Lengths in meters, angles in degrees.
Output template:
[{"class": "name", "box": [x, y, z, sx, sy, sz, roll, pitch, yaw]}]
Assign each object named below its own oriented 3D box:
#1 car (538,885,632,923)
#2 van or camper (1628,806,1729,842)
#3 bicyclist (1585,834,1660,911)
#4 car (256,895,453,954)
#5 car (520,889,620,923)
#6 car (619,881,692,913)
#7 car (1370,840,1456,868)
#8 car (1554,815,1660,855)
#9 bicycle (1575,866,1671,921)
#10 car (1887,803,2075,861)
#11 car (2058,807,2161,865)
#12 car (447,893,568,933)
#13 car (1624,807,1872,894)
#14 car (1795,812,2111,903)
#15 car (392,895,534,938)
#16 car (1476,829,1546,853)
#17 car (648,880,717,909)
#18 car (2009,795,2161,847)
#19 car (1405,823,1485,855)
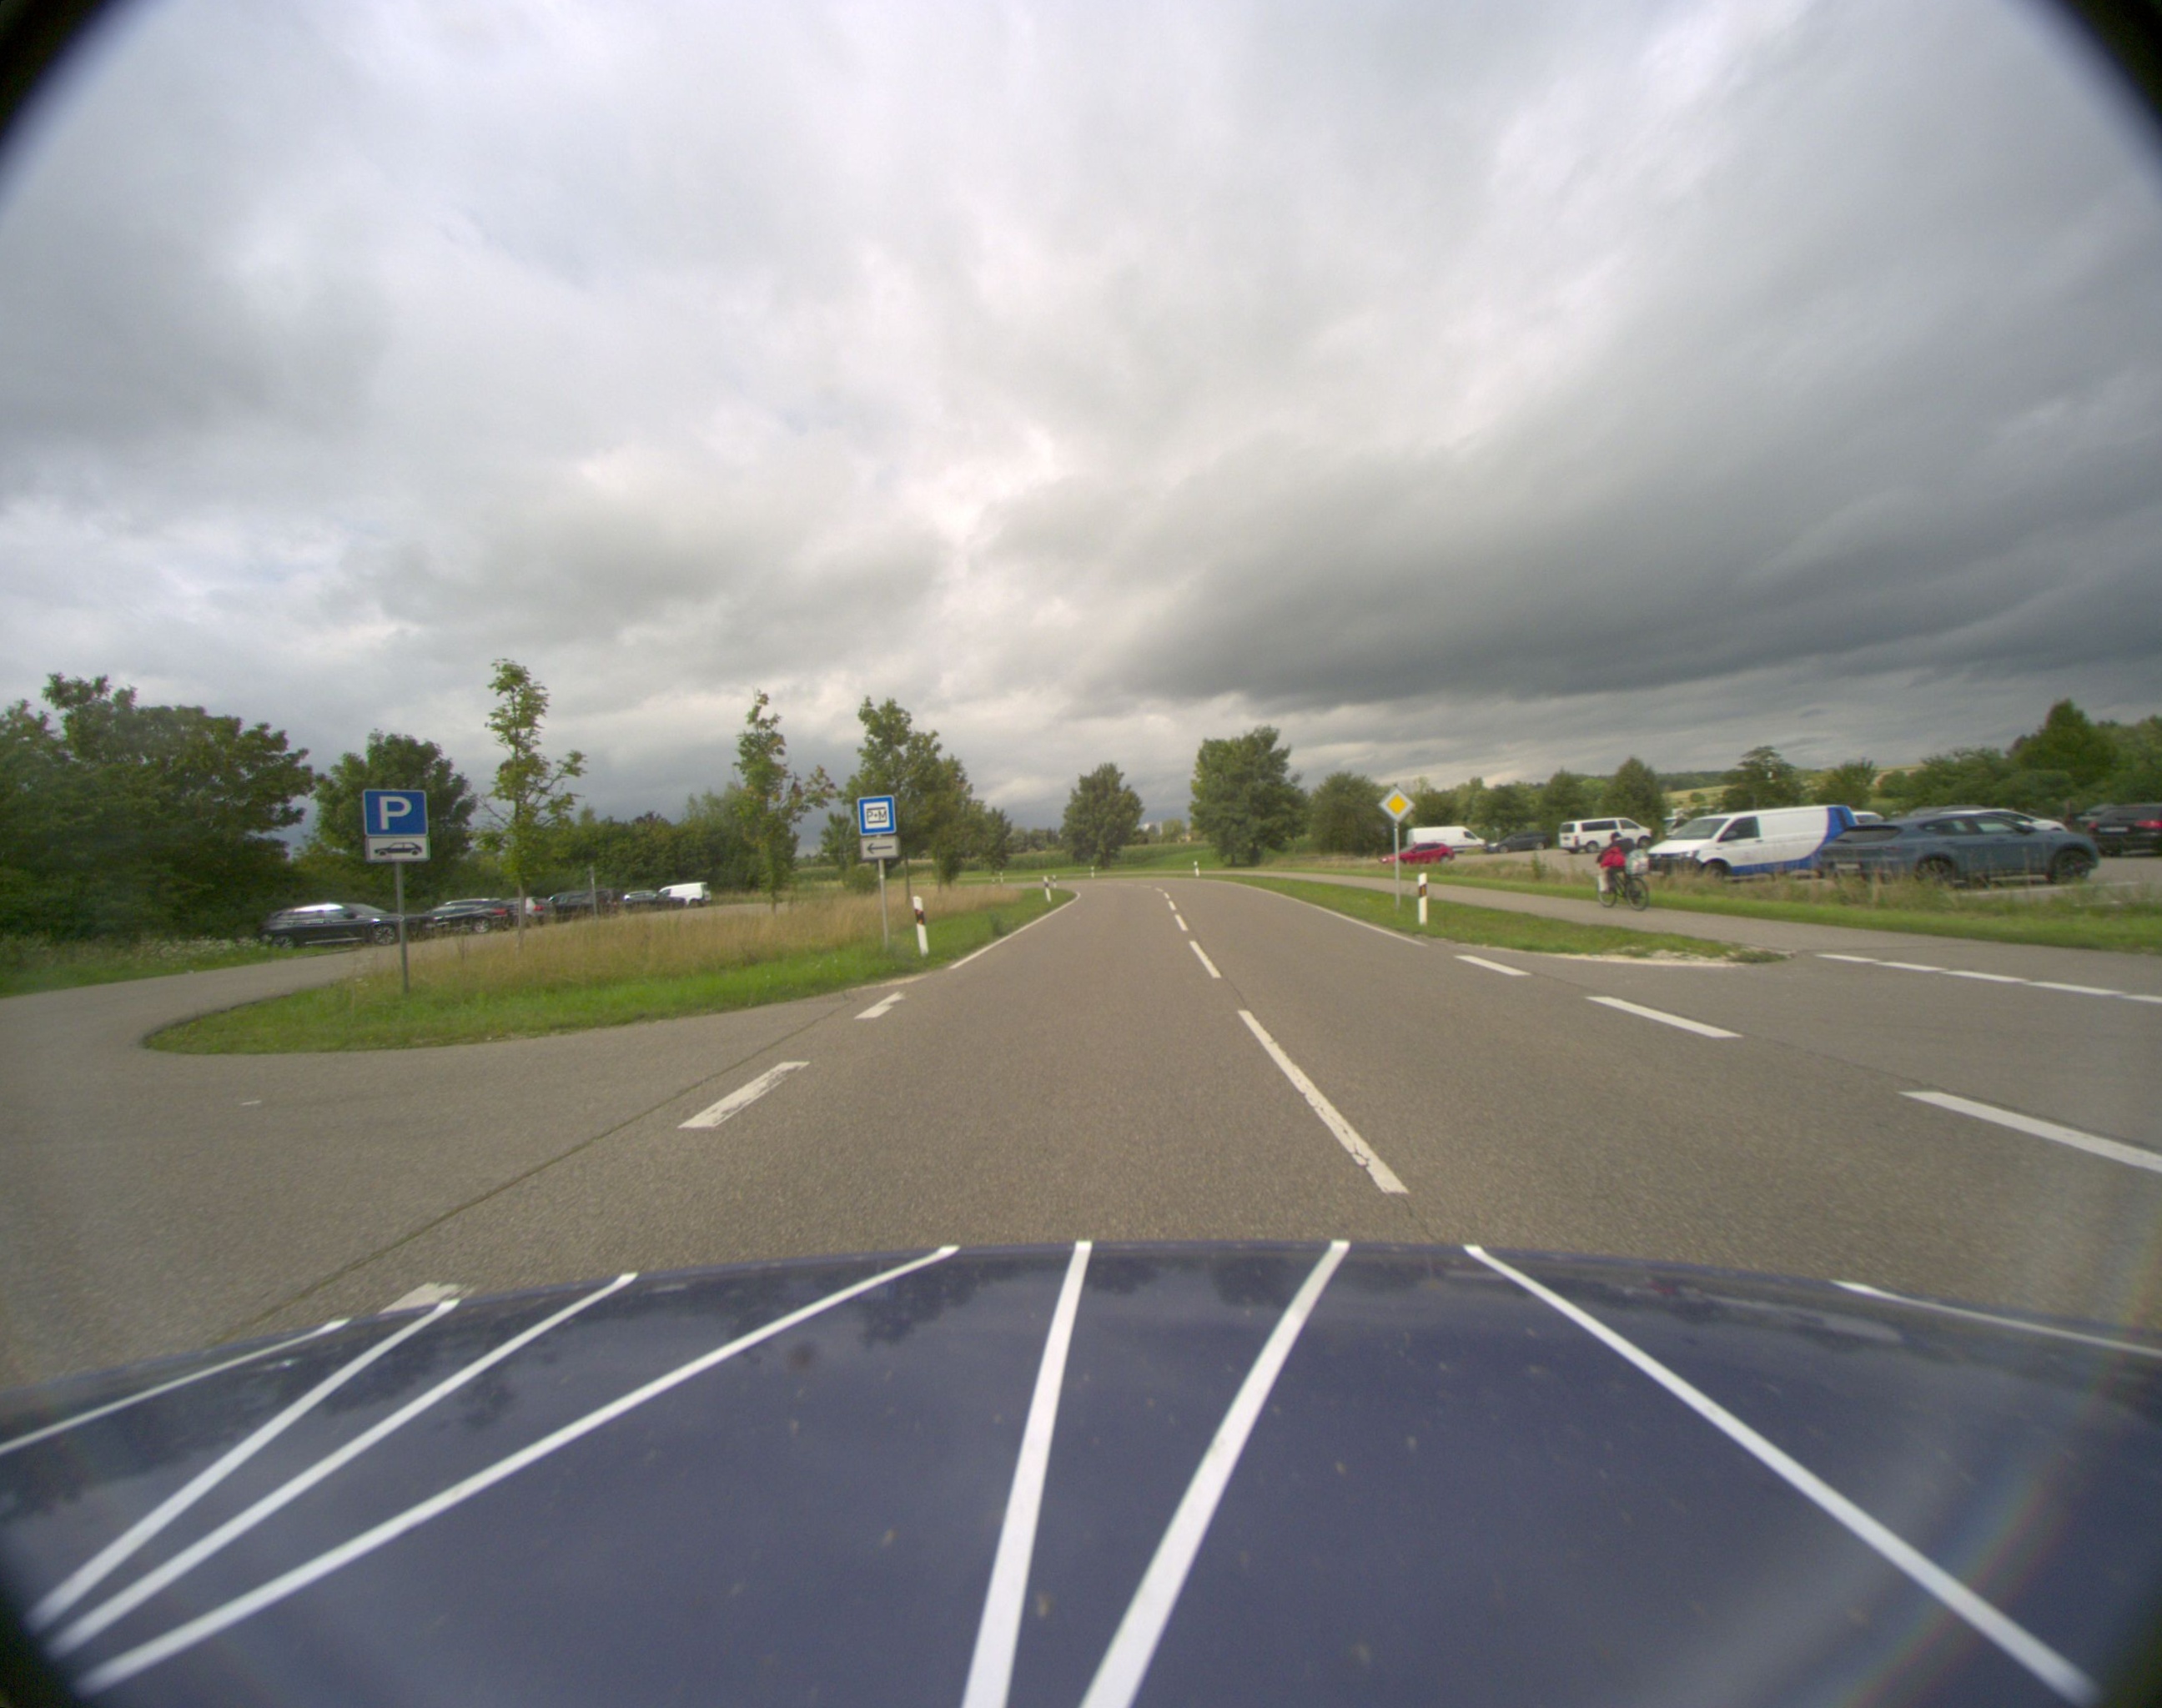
[{"class": "car", "box": [-28.919, 2.883, 44.427, 4.000, 1.849, 1.998, -3, 0, -10]}, {"class": "van or camper", "box": [48.578, -2.439, 61.867, 6.042, 2.333, 2.287, -5, 0, 6]}, {"class": "bicyclist", "box": [11.504, 0.382, 16.190, 0.832, 1.556, 1.056, -3, 0, 7]}, {"class": "car", "box": [-25.199, 2.391, 26.552, 4.494, 1.572, 1.998, -3, 0, -14]}, {"class": "car", "box": [-27.870, 2.806, 41.563, 4.001, 1.488, 1.998, -3, 0, -14]}, {"class": "car", "box": [-29.603, 2.975, 53.012, 4.000, 1.849, 1.743, -3, 0, -10]}, {"class": "car", "box": [20.110, 0.000, 46.124, 4.374, 1.408, 1.814, -4, 0, 3]}, {"class": "car", "box": [31.192, -1.086, 45.168, 4.692, 1.914, 2.061, -5, 0, 2]}, {"class": "bicycle", "box": [11.568, 0.807, 16.314, 0.637, 1.026, 2.191, -3, 0, 5]}, {"class": "car", "box": [29.739, -0.707, 25.192, 3.998, 1.543, 1.965, -5, 0, -4]}, {"class": "car", "box": [29.400, -0.559, 20.442, 3.998, 1.379, 1.841, -5, 0, -4]}, {"class": "car", "box": [-26.971, 2.741, 35.865, 4.009, 1.496, 2.050, -3, 0, -7]}, {"class": "car", "box": [18.400, -0.094, 21.167, 4.905, 2.002, 2.057, -3, 0, 2]}, {"class": "car", "box": [18.454, 0.073, 16.289, 4.257, 1.585, 2.000, -3, 0, 4]}, {"class": "car", "box": [-26.251, 2.637, 32.421, 4.167, 1.406, 1.998, -3, 0, -14]}, {"class": "car", "box": [31.417, -0.944, 55.579, 3.996, 1.516, 1.794, -4, 0, 2]}, {"class": "car", "box": [-29.413, 2.973, 56.201, 4.000, 1.849, 1.998, -3, 0, -10]}, {"class": "car", "box": [34.901, -1.128, 25.876, 3.784, 1.517, 1.780, -4, 0, 34]}, {"class": "car", "box": [34.227, -1.413, 71.578, 6.329, 2.604, 2.201, -4, 0, 3]}]
